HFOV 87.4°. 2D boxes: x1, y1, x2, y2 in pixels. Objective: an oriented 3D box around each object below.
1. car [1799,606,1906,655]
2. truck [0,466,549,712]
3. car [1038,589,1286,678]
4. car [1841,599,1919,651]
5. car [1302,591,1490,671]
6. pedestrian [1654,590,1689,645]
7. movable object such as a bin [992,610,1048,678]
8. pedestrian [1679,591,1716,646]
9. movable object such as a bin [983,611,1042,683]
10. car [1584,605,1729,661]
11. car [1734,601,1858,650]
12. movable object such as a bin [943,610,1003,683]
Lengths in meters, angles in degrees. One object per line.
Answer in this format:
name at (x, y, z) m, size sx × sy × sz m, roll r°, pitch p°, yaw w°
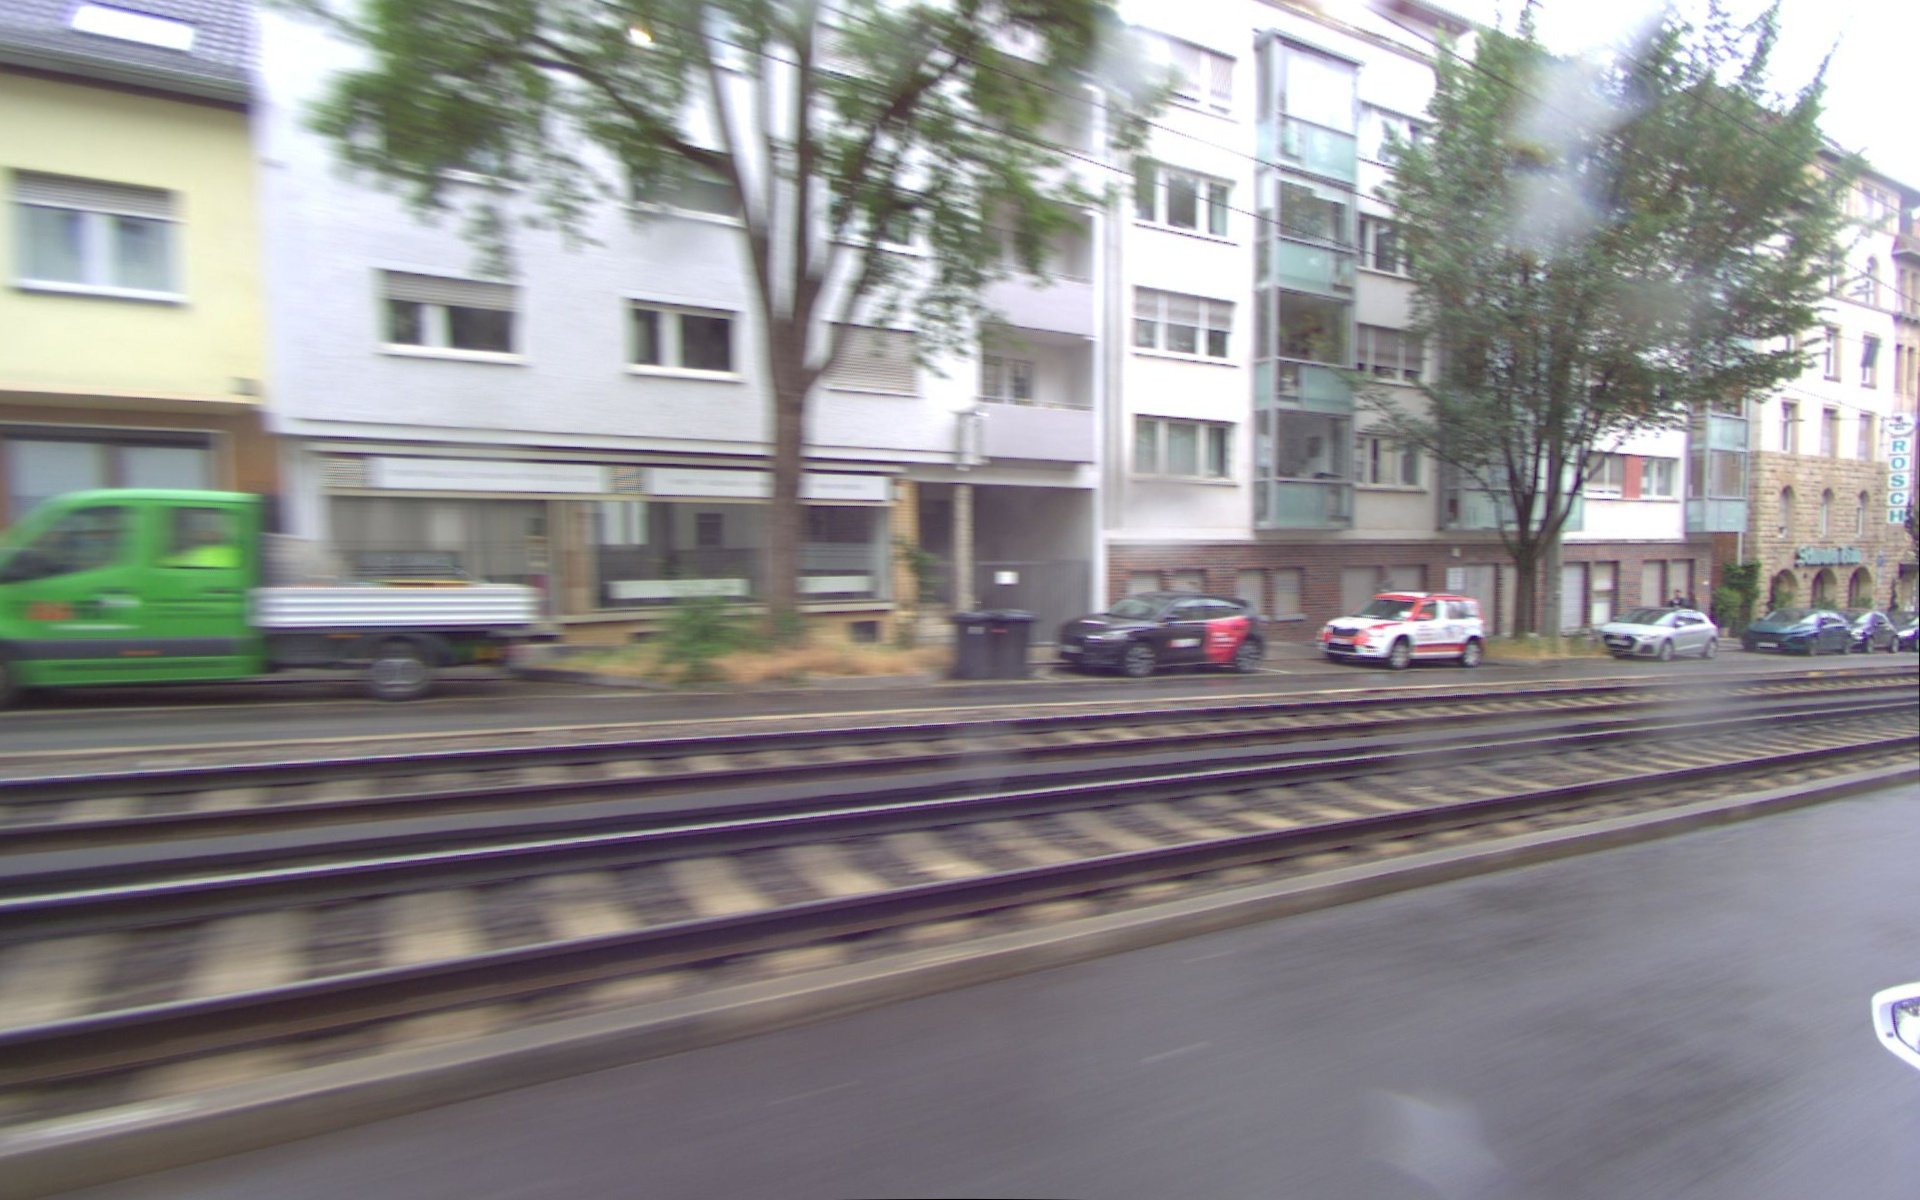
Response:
car at (31.109, 1.027, 35.009) m, size 3.486 × 1.518 × 1.797 m, roll 1°, pitch 3°, yaw -32°
truck at (-8.229, -0.056, 11.514) m, size 6.274 × 2.377 × 2.183 m, roll 2°, pitch 0°, yaw -29°
car at (3.798, 0.571, 18.699) m, size 4.419 × 1.459 × 1.896 m, roll 1°, pitch 1°, yaw -32°
car at (35.063, 0.918, 37.468) m, size 3.689 × 1.751 × 1.880 m, roll 1°, pitch 3°, yaw -25°
car at (9.690, 0.652, 22.239) m, size 4.112 × 1.590 × 1.767 m, roll 1°, pitch 1°, yaw -32°
pedestrian at (23.911, 0.589, 33.758) m, size 0.773 × 1.796 × 0.670 m, roll 1°, pitch 2°, yaw -30°
movable object such as a bin at (1.049, 0.753, 17.555) m, size 0.665 × 1.136 × 0.720 m, roll 0°, pitch 1°, yaw -36°
pedestrian at (24.303, 0.600, 33.114) m, size 0.773 × 1.796 × 0.670 m, roll 1°, pitch 2°, yaw -30°
movable object such as a bin at (0.866, 0.751, 16.549) m, size 0.665 × 1.136 × 0.720 m, roll 0°, pitch 1°, yaw -36°
car at (19.433, 0.896, 27.996) m, size 4.081 × 1.354 × 1.694 m, roll 1°, pitch 3°, yaw -30°
car at (27.086, 0.805, 32.512) m, size 4.380 × 1.474 × 1.791 m, roll 1°, pitch 0°, yaw -32°
movable object such as a bin at (0.207, 0.734, 16.290) m, size 0.665 × 1.136 × 0.720 m, roll 0°, pitch 1°, yaw -36°
